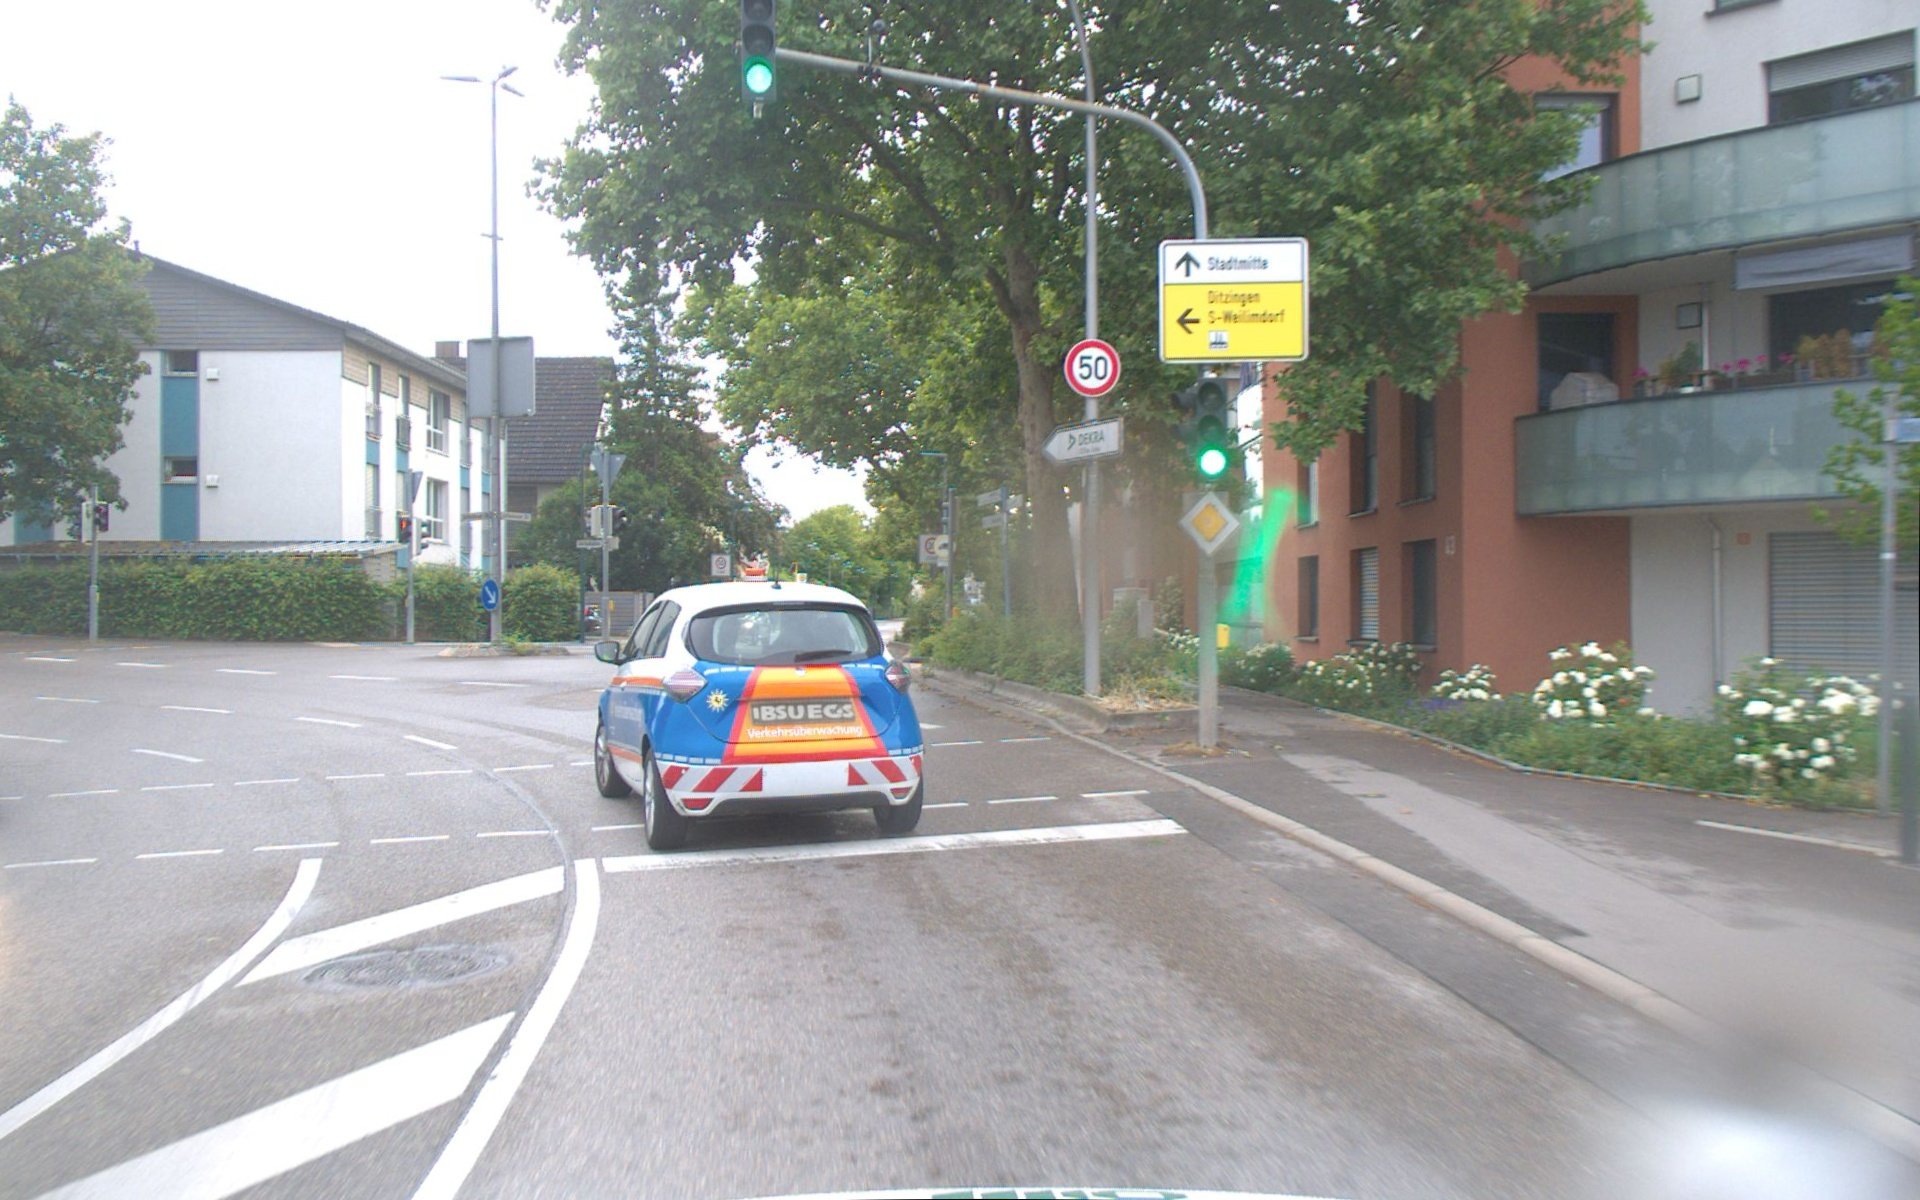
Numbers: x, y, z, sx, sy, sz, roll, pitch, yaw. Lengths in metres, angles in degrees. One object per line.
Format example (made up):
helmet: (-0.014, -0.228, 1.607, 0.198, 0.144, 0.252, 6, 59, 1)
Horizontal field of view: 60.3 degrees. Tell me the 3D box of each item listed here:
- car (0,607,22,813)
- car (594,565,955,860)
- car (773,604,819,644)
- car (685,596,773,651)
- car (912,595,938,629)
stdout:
car: (-8.808, 0.815, 13.052, 1.714, 1.481, 3.942, -4, 3, -40)
car: (-1.442, 0.597, 11.284, 1.718, 1.608, 3.981, -1, 1, -17)
car: (-7.333, 1.051, 74.129, 1.840, 1.698, 3.711, 1, 0, -3)
car: (-6.641, 0.666, 47.931, 1.902, 1.477, 4.299, 2, -1, 0)
car: (-2.209, 0.753, 104.339, 1.610, 2.052, 3.715, 0, 1, -1)
